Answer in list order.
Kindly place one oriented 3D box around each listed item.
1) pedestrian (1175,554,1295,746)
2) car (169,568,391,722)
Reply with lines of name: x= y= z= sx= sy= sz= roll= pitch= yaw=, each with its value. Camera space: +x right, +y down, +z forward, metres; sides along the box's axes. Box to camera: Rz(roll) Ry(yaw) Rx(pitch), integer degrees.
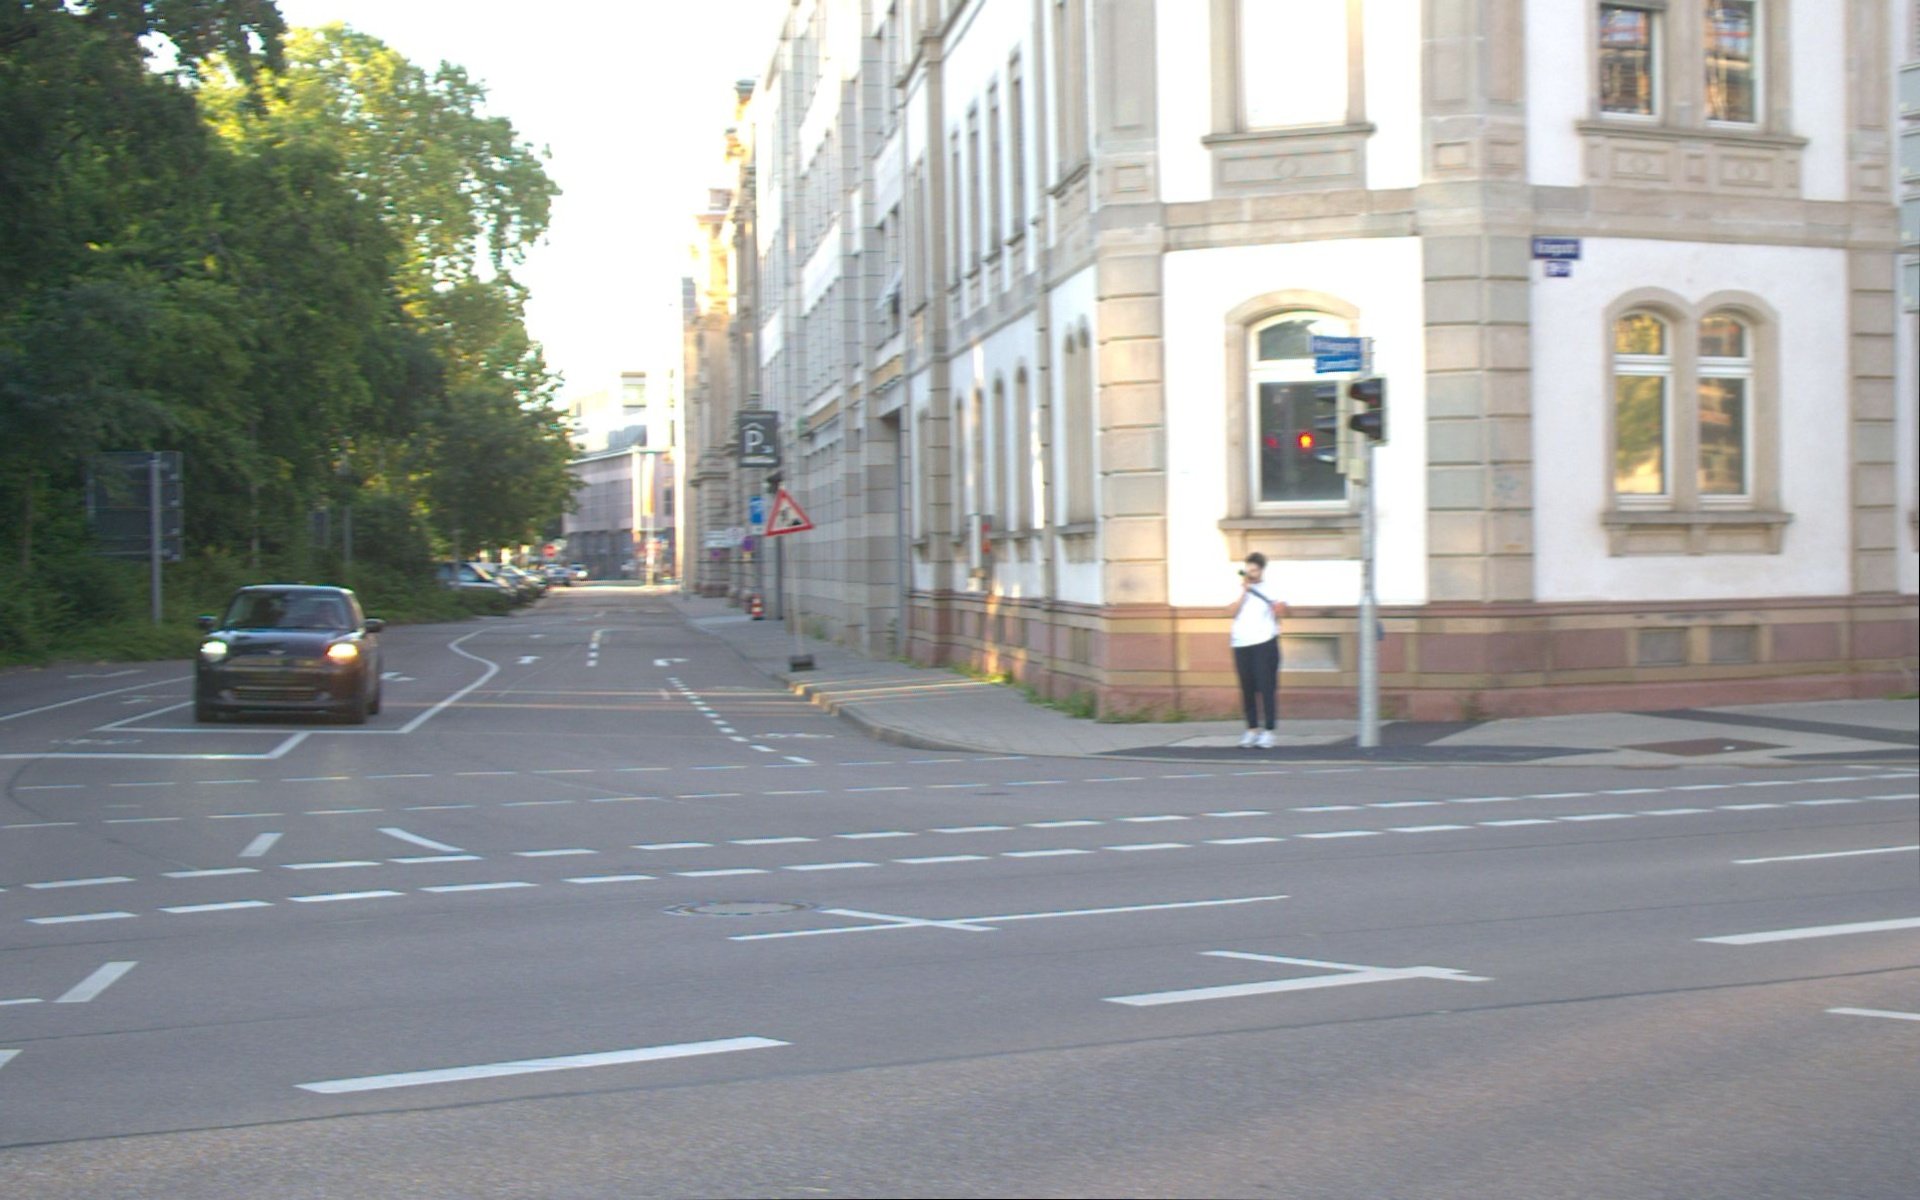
pedestrian: x=2.408 y=0.426 z=30.126 sx=0.818 sy=1.651 sz=0.635 roll=0 pitch=1 yaw=39
car: x=-7.171 y=0.441 z=36.564 sx=1.823 sy=1.511 sz=3.577 roll=-1 pitch=1 yaw=-3
